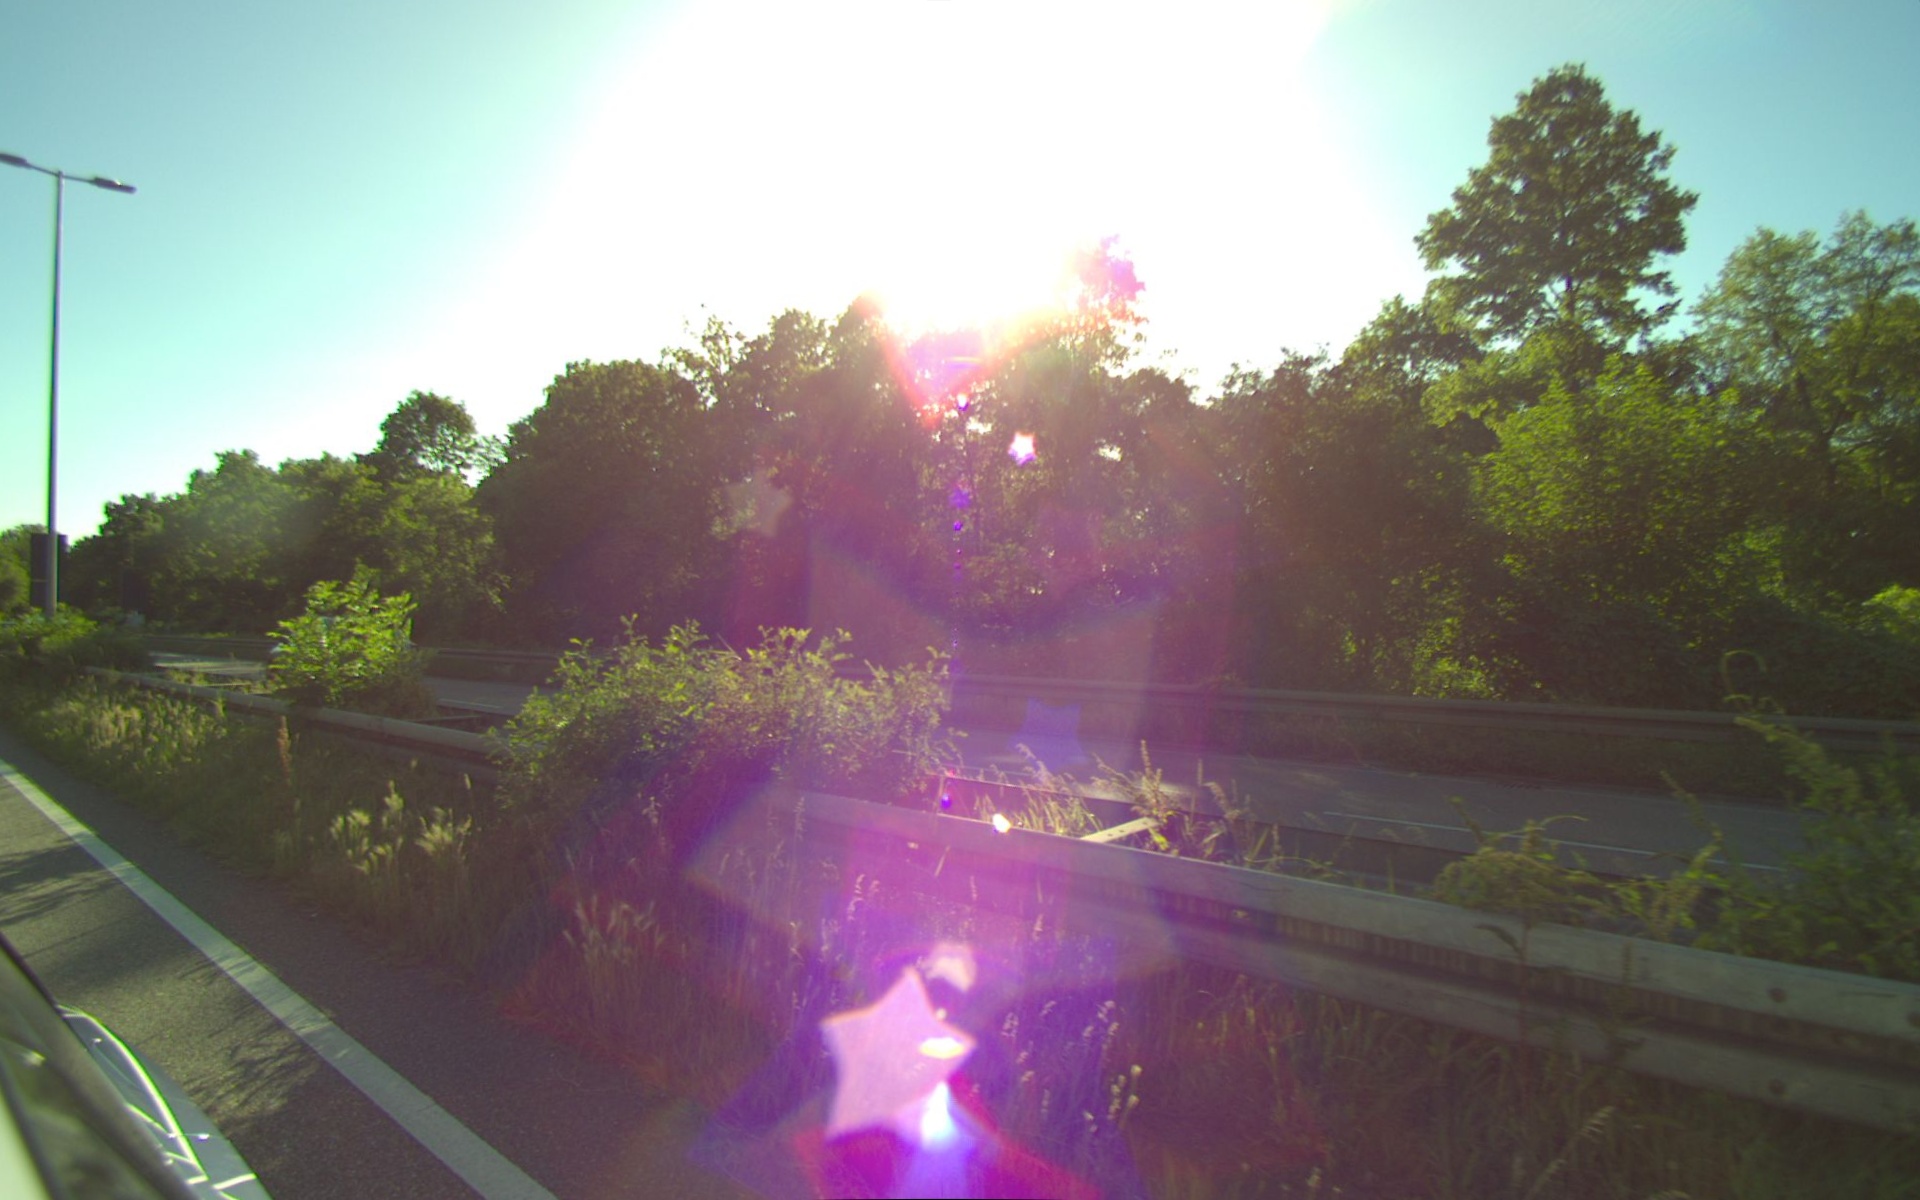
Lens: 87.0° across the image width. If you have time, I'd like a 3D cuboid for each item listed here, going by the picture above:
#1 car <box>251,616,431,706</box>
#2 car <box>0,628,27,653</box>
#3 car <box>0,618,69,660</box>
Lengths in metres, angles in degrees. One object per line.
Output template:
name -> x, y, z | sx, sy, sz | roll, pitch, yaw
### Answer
car -> -12.231, 1.142, 19.907 | 4.215, 1.582, 1.751 | -1, -3, 40
car -> -53.776, 2.231, 56.664 | 4.459, 1.367, 1.754 | -1, -2, 41
car -> -41.526, 1.732, 45.368 | 4.336, 1.785, 1.815 | -1, -2, 41
